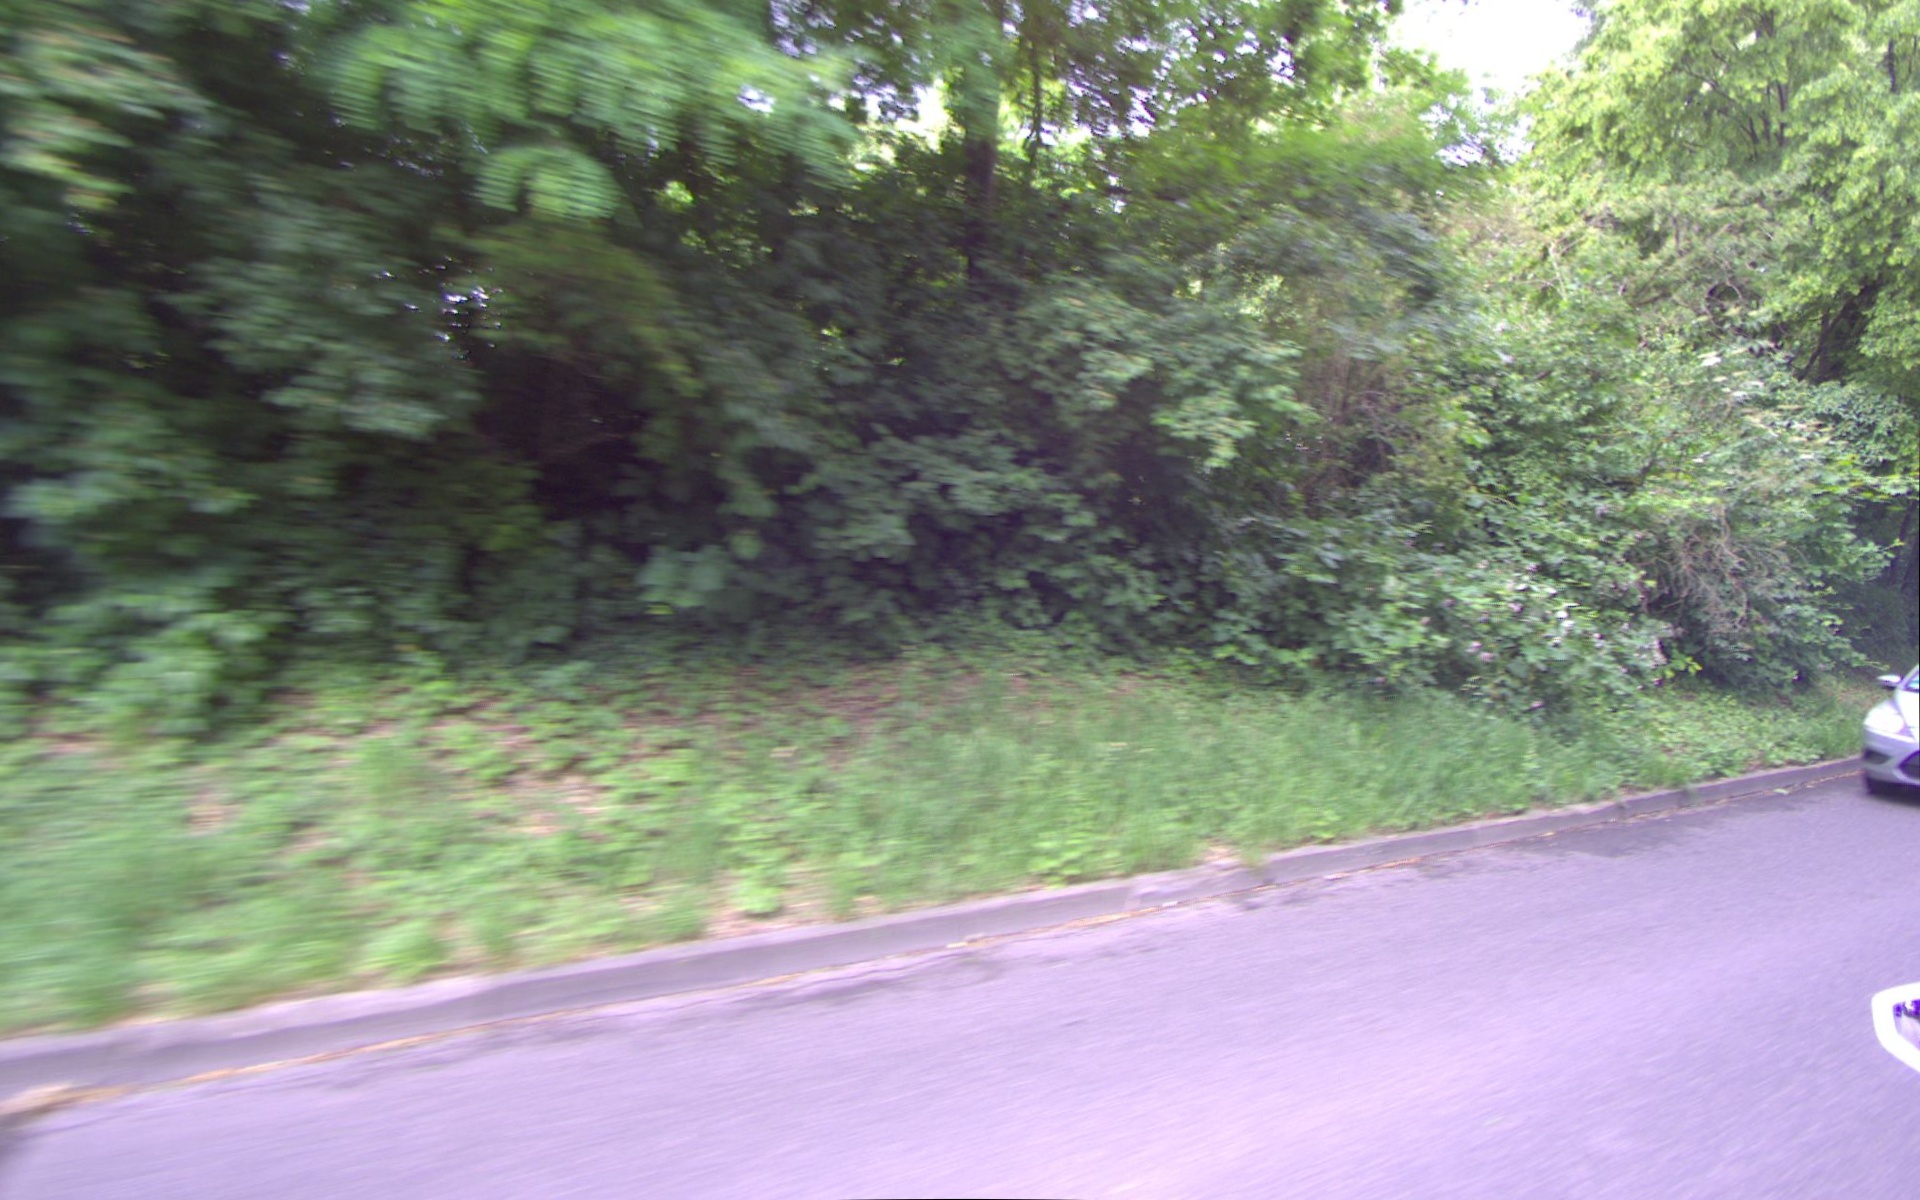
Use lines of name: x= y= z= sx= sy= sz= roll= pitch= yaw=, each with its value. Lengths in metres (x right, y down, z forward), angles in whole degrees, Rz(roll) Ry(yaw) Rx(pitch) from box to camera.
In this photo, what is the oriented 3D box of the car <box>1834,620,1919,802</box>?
car: x=9.980 y=1.010 z=9.390 sx=3.959 sy=1.528 sz=1.783 roll=2 pitch=0 yaw=-35
